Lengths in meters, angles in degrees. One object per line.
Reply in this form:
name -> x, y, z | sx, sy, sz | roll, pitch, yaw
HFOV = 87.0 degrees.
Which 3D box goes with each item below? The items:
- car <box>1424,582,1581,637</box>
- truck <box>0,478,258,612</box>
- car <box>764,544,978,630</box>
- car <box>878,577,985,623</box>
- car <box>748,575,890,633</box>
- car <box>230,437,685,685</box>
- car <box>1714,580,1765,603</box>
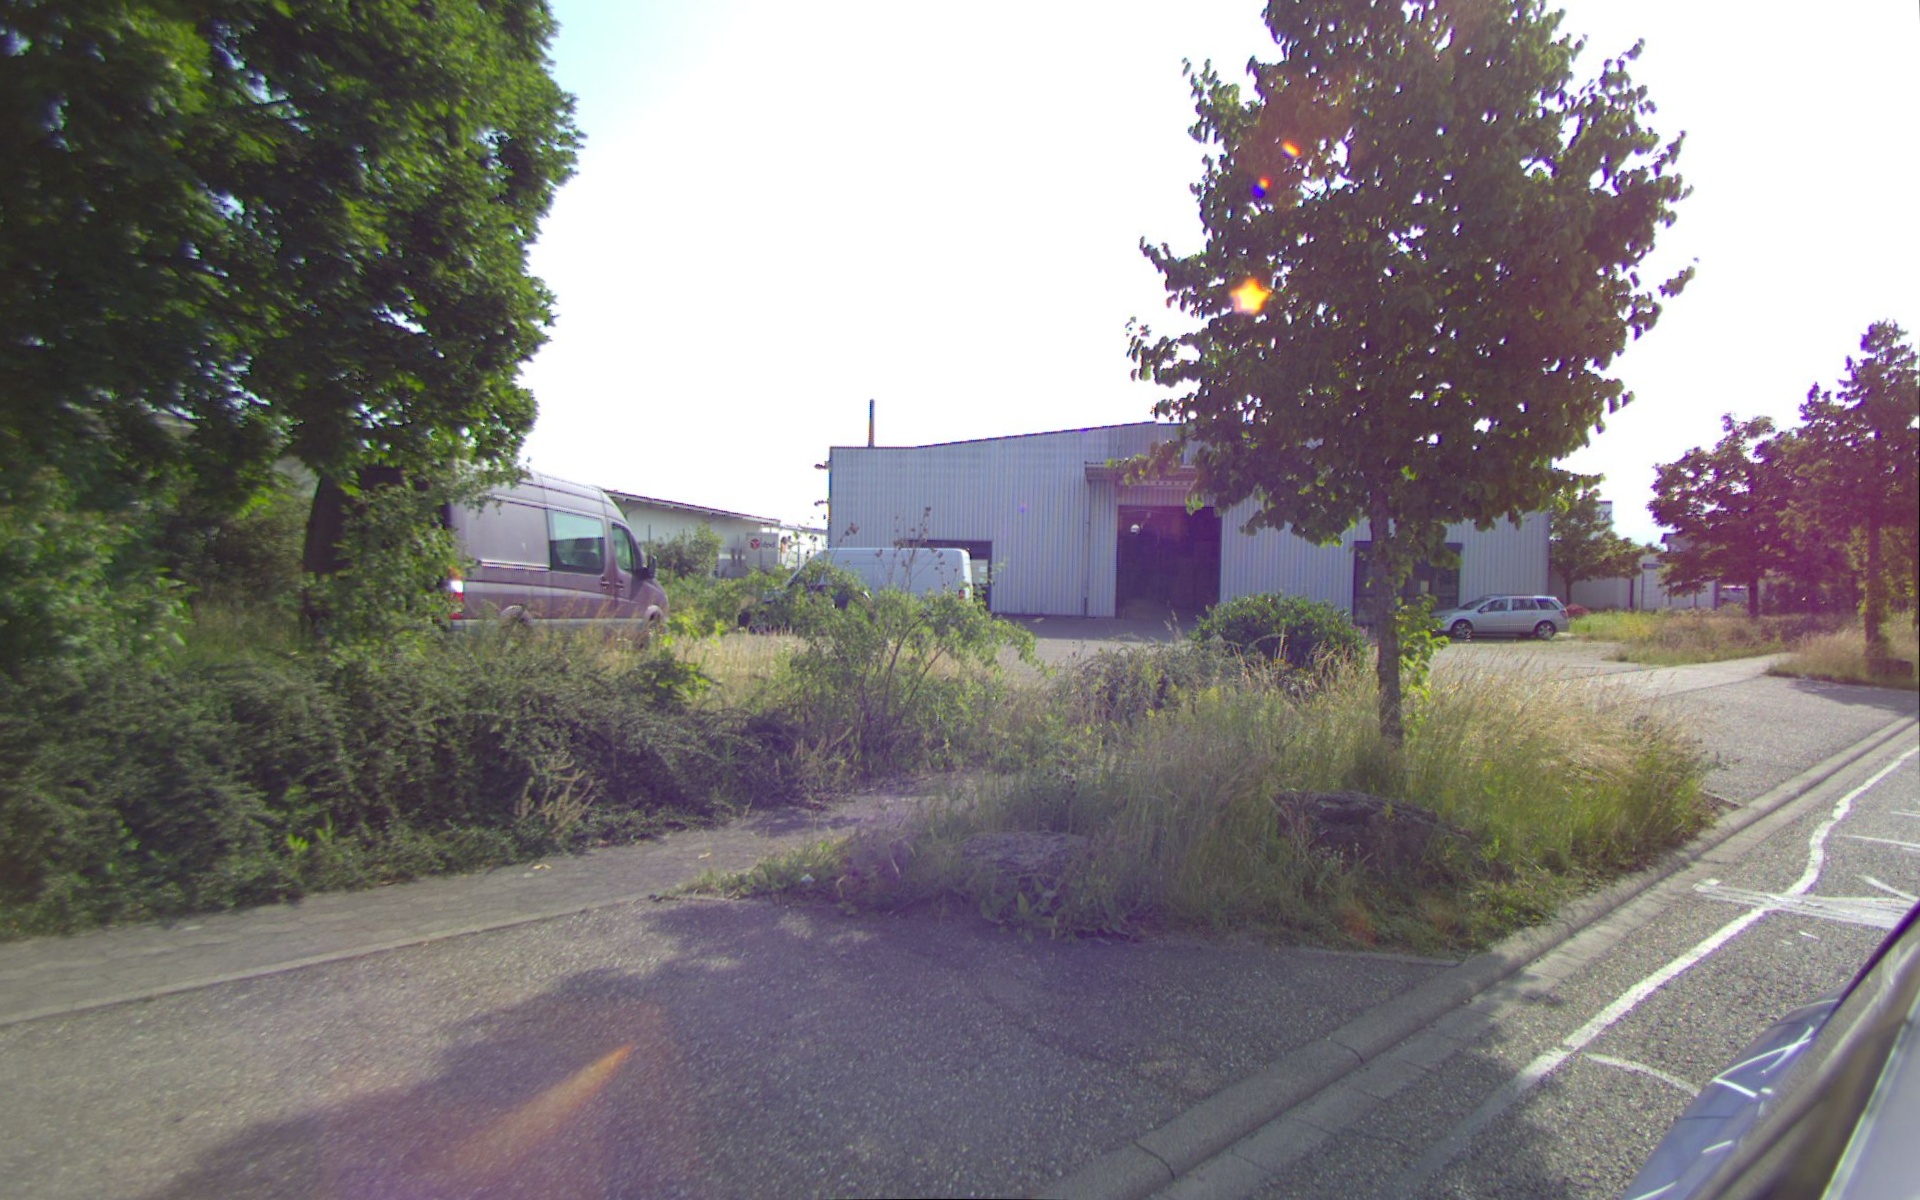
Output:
car -> 18.451, 0.304, 34.579 | 4.286, 1.581, 1.757 | 2, 4, 8
truck -> -21.496, -1.241, 23.883 | 8.617, 2.875, 2.784 | 0, 1, 10
car -> -2.748, -0.444, 31.930 | 6.452, 2.557, 2.002 | 1, 1, 9
car -> -0.948, -0.002, 34.422 | 3.383, 1.490, 1.699 | -1, 0, 9
car -> -4.013, 0.105, 29.009 | 3.669, 1.490, 1.755 | 2, 0, 9
car -> -6.149, -0.401, 13.633 | 2.532, 2.557, 6.033 | -1, 0, 8
car -> 60.592, -0.676, 78.679 | 3.679, 1.703, 1.603 | -1, 0, -25
